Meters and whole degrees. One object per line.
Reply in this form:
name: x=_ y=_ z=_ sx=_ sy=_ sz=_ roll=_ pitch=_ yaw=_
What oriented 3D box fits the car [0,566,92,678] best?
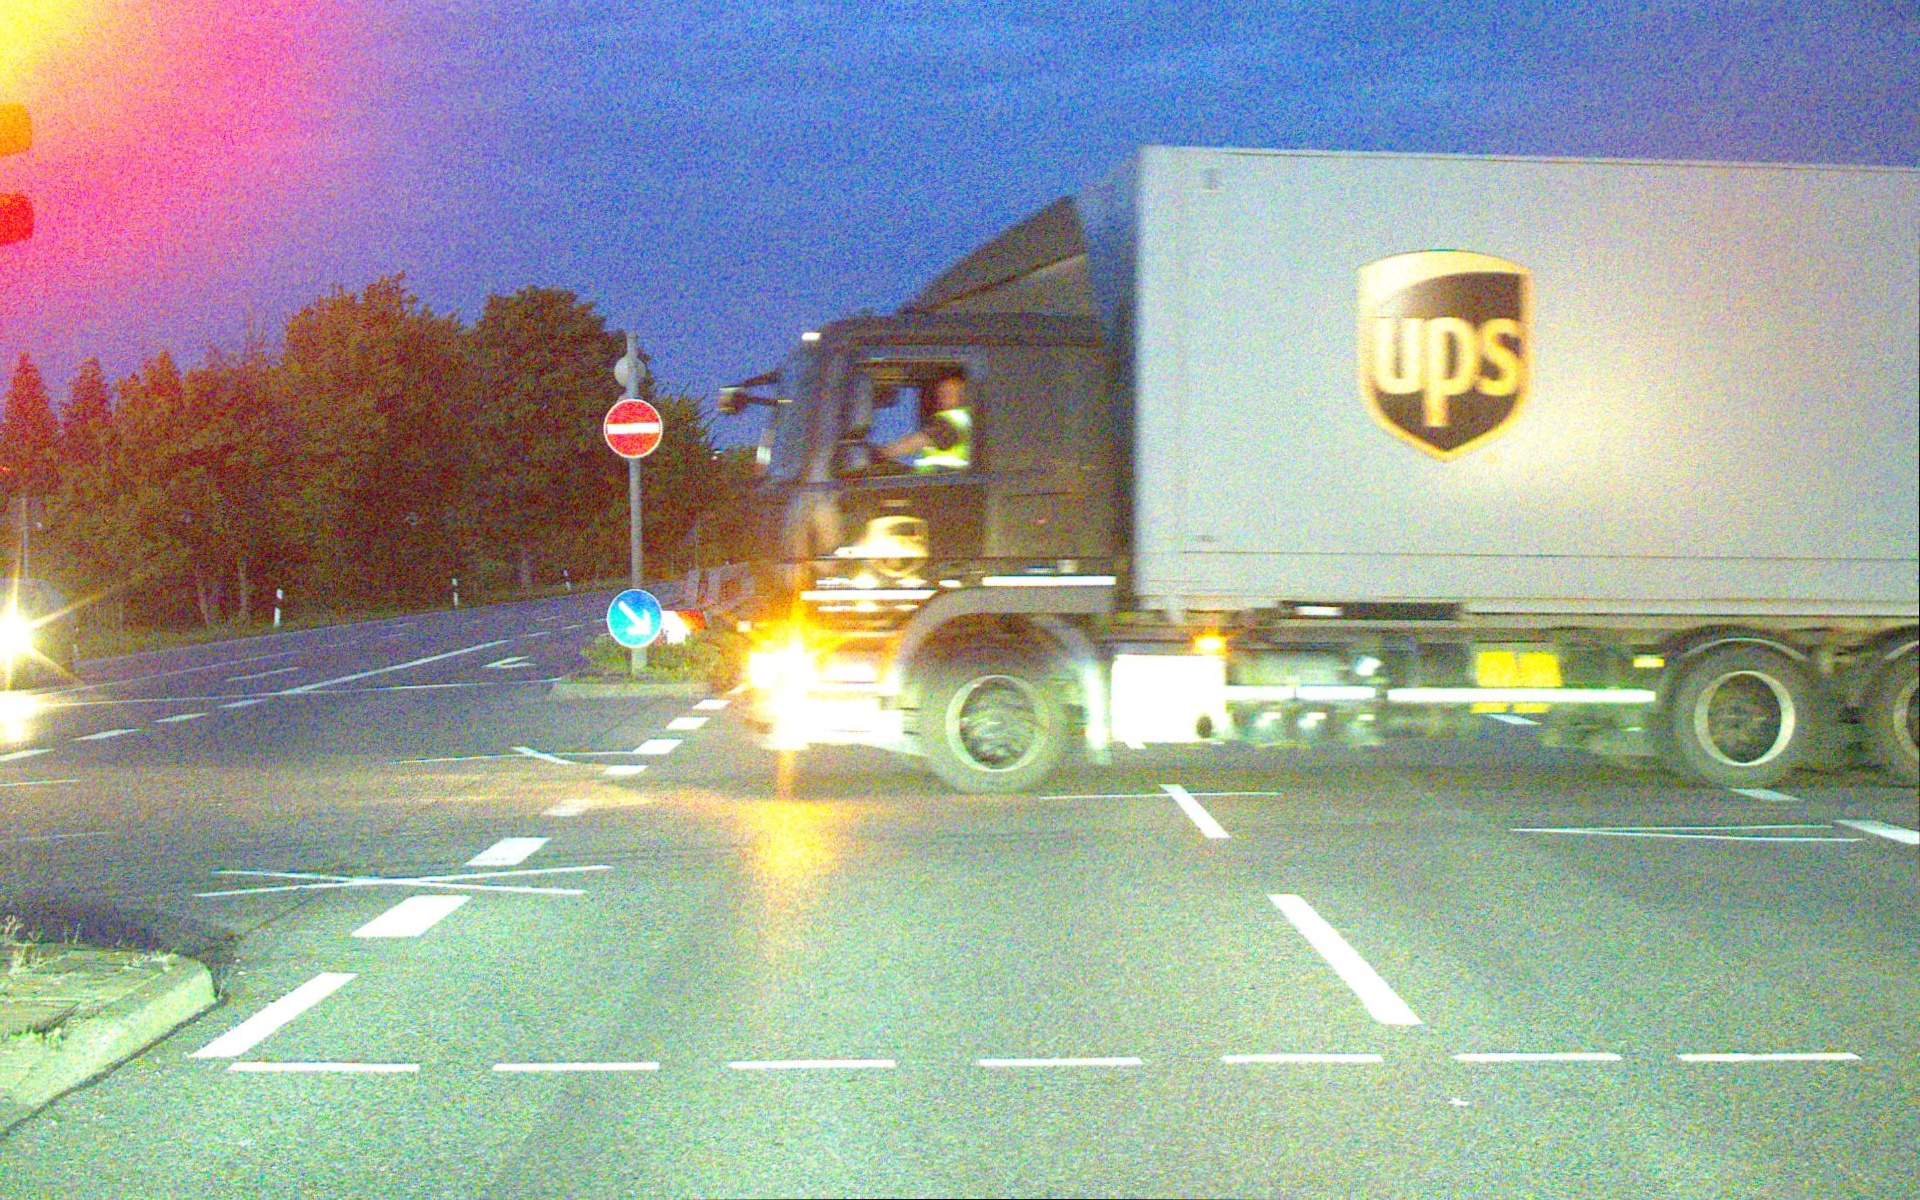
car: x=-13.050 y=0.325 z=46.476 sx=1.628 sy=1.372 sz=3.589 roll=-5 pitch=2 yaw=0

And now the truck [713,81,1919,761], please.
truck: x=3.614 y=-1.134 z=22.700 sx=10.310 sy=4.103 sz=2.735 roll=0 pitch=0 yaw=-7
